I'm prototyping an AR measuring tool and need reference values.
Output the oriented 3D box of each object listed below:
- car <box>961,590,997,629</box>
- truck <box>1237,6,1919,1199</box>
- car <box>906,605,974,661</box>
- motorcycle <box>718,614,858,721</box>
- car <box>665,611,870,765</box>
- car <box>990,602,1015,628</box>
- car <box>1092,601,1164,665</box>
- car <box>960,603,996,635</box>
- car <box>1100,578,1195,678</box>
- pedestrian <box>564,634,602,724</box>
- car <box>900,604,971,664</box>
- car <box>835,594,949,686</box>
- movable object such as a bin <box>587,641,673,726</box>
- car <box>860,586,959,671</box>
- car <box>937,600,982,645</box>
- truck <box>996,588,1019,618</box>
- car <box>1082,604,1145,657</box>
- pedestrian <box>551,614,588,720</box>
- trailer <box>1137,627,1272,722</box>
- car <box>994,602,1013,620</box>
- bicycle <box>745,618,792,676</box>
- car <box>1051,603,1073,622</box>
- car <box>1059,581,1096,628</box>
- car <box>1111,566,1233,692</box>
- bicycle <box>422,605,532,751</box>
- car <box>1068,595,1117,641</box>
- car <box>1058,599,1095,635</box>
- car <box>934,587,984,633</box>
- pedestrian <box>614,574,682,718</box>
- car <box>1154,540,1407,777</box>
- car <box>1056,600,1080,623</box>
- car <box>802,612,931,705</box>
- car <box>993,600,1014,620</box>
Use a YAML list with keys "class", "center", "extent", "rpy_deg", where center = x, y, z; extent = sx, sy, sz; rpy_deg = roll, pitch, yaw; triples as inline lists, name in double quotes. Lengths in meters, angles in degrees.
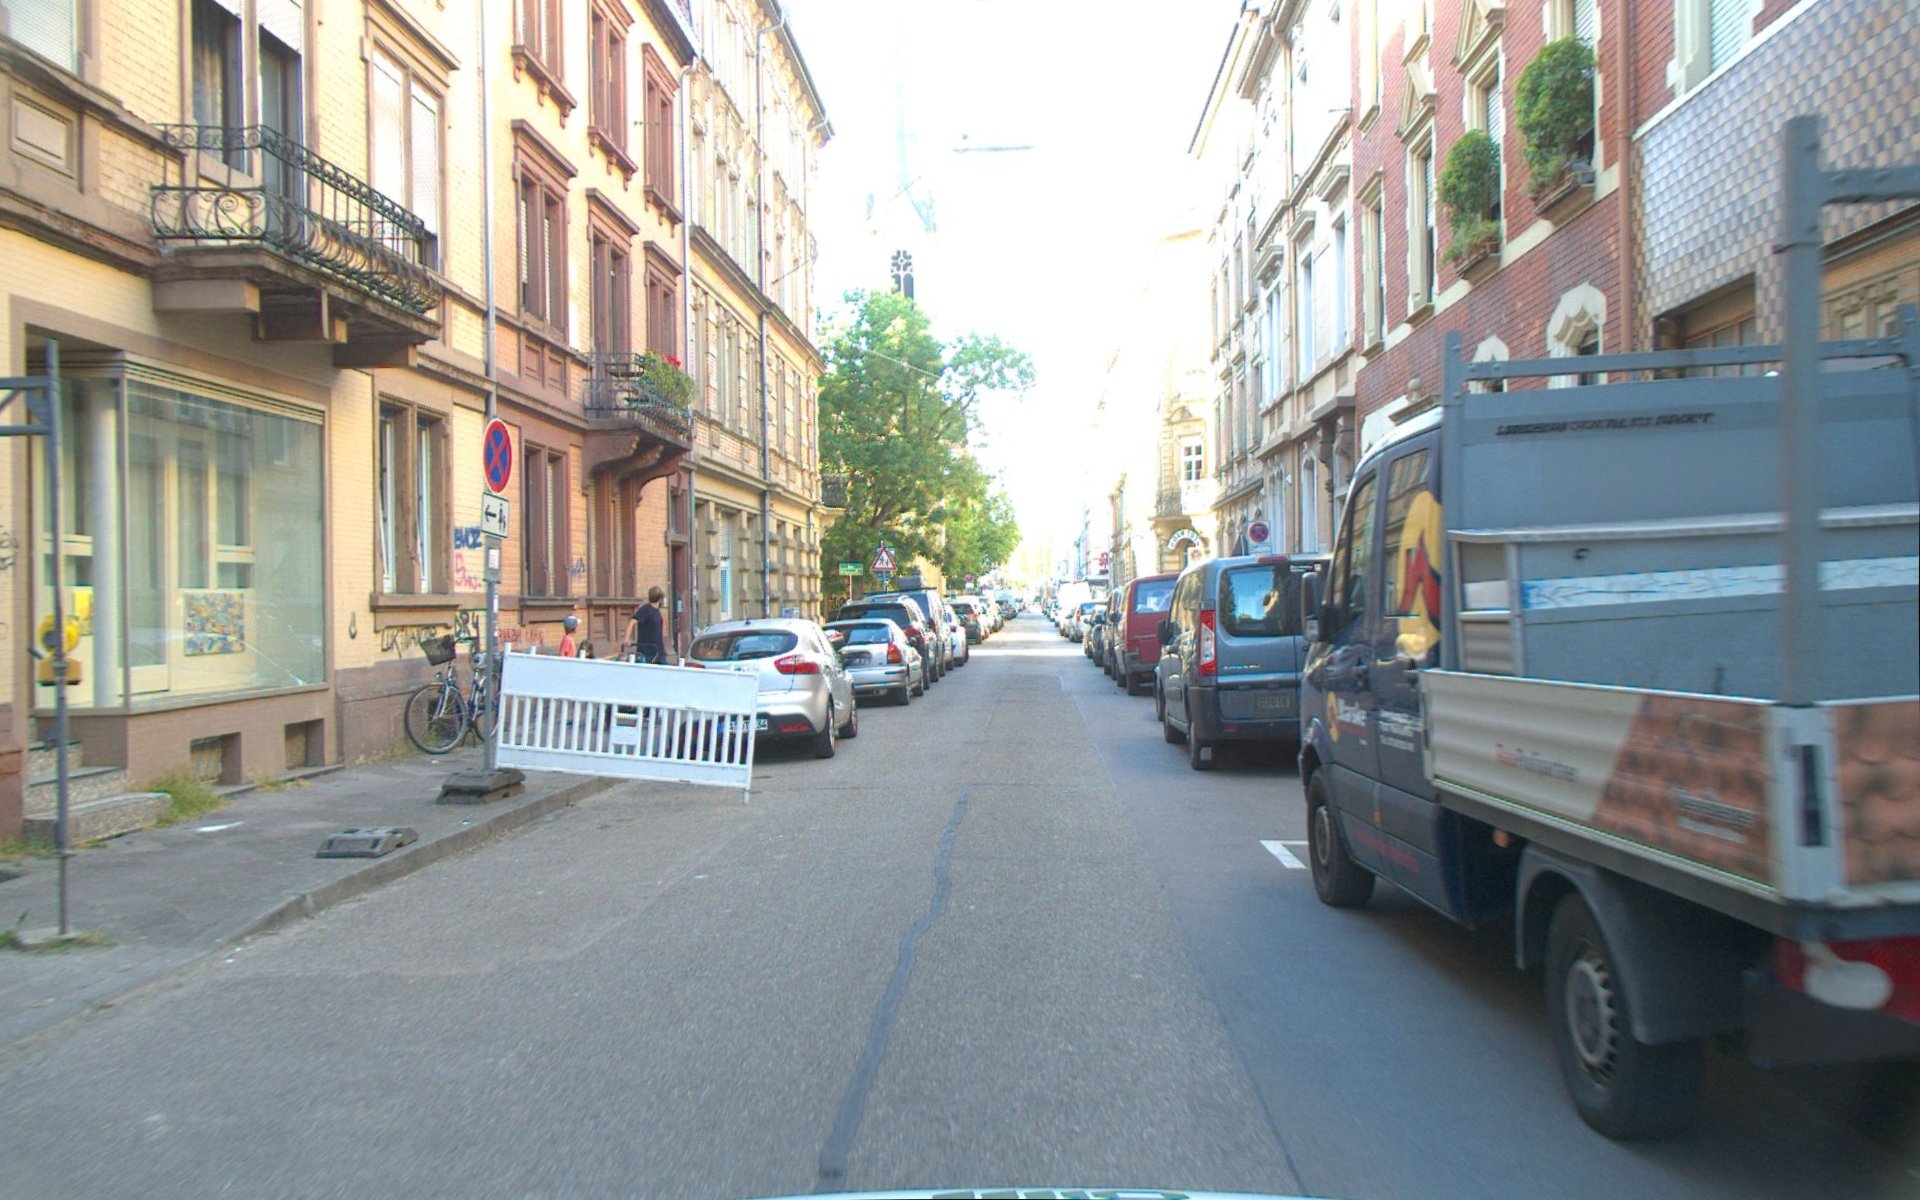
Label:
- class: "car"
  center: [1.091, 0.525, 92.531]
  extent: [1.825, 1.991, 4.611]
  rpy_deg: [-3, 0, 2]
- class: "truck"
  center: [2.754, 0.092, 6.441]
  extent: [2.105, 2.703, 6.253]
  rpy_deg: [-5, 0, 0]
- class: "car"
  center: [-0.528, 0.897, 46.980]
  extent: [1.686, 1.507, 4.091]
  rpy_deg: [0, 0, 3]
- class: "motorcycle"
  center: [-2.431, 0.956, 23.162]
  extent: [0.836, 1.383, 2.165]
  rpy_deg: [-3, -1, -39]
- class: "car"
  center: [-2.030, 0.893, 18.501]
  extent: [1.639, 1.443, 4.001]
  rpy_deg: [-3, 0, 2]
- class: "car"
  center: [2.920, 1.025, 113.688]
  extent: [1.567, 1.642, 3.809]
  rpy_deg: [-3, 0, 2]
- class: "car"
  center: [4.251, 0.799, 42.215]
  extent: [1.631, 1.505, 3.889]
  rpy_deg: [-1, 0, 3]
- class: "car"
  center: [0.979, 0.968, 86.772]
  extent: [1.706, 1.614, 3.870]
  rpy_deg: [-1, 0, 3]
- class: "car"
  center: [3.953, 0.570, 35.398]
  extent: [1.732, 1.995, 4.265]
  rpy_deg: [0, 0, 3]
- class: "pedestrian"
  center: [-4.698, 0.983, 20.638]
  extent: [0.386, 1.105, 0.431]
  rpy_deg: [0, 0, -3]
- class: "car"
  center: [-0.581, 0.836, 42.198]
  extent: [1.639, 1.445, 3.875]
  rpy_deg: [0, 0, 1]
- class: "car"
  center: [-1.258, 0.727, 32.368]
  extent: [1.750, 1.653, 4.610]
  rpy_deg: [0, 0, 4]
- class: "movable object such as a bin"
  center: [-3.976, 0.991, 20.029]
  extent: [0.746, 0.948, 1.415]
  rpy_deg: [-1, 0, 0]
- class: "car"
  center: [-1.079, 0.618, 37.832]
  extent: [1.853, 1.816, 4.609]
  rpy_deg: [0, 0, 3]
- class: "car"
  center: [0.002, 0.853, 65.303]
  extent: [1.705, 1.675, 4.289]
  rpy_deg: [-1, 0, 0]
- class: "truck"
  center: [5.522, 0.394, 191.124]
  extent: [2.479, 3.339, 6.997]
  rpy_deg: [-1, 0, 3]
- class: "car"
  center: [4.490, 0.855, 48.825]
  extent: [1.670, 1.484, 4.513]
  rpy_deg: [0, 0, 3]
- class: "pedestrian"
  center: [-4.969, 0.851, 21.068]
  extent: [0.386, 1.329, 0.431]
  rpy_deg: [0, 0, -3]
- class: "trailer"
  center: [3.373, 1.003, 23.245]
  extent: [1.474, 1.132, 3.039]
  rpy_deg: [2, 0, 1]
- class: "car"
  center: [4.614, 1.142, 174.436]
  extent: [1.837, 1.828, 3.999]
  rpy_deg: [-1, 0, -1]
- class: "bicycle"
  center: [-4.047, 0.989, 35.084]
  extent: [0.653, 1.145, 1.786]
  rpy_deg: [1, 0, 3]
- class: "car"
  center: [8.662, 1.045, 140.475]
  extent: [1.858, 1.514, 3.871]
  rpy_deg: [-1, 0, 3]
- class: "car"
  center: [6.801, 0.236, 96.134]
  extent: [2.025, 2.656, 5.890]
  rpy_deg: [-1, 0, 3]
- class: "car"
  center: [3.702, 0.481, 29.586]
  extent: [1.794, 2.049, 4.743]
  rpy_deg: [0, 0, 3]
- class: "bicycle"
  center: [-5.081, 0.788, 17.499]
  extent: [0.513, 1.450, 1.713]
  rpy_deg: [2, 0, 4]
- class: "car"
  center: [5.324, 0.720, 66.812]
  extent: [1.668, 1.744, 3.938]
  rpy_deg: [-2, 0, 1]
- class: "car"
  center: [5.718, 0.851, 81.483]
  extent: [1.770, 1.719, 4.216]
  rpy_deg: [1, -1, 3]
- class: "car"
  center: [-0.023, 0.401, 70.675]
  extent: [1.807, 1.895, 4.467]
  rpy_deg: [-1, 0, 4]
- class: "pedestrian"
  center: [-3.989, 0.578, 21.187]
  extent: [0.671, 1.796, 0.887]
  rpy_deg: [-1, 0, 0]
- class: "car"
  center: [3.052, 0.508, 16.642]
  extent: [1.806, 2.018, 4.577]
  rpy_deg: [1, 0, 2]
- class: "car"
  center: [7.343, 0.768, 112.280]
  extent: [1.570, 1.531, 4.002]
  rpy_deg: [0, 0, 4]
- class: "car"
  center: [-1.461, 0.909, 27.247]
  extent: [1.663, 1.337, 4.001]
  rpy_deg: [2, 0, 3]
- class: "car"
  center: [4.031, 0.899, 152.851]
  extent: [1.836, 1.828, 4.001]
  rpy_deg: [-1, 0, 3]
